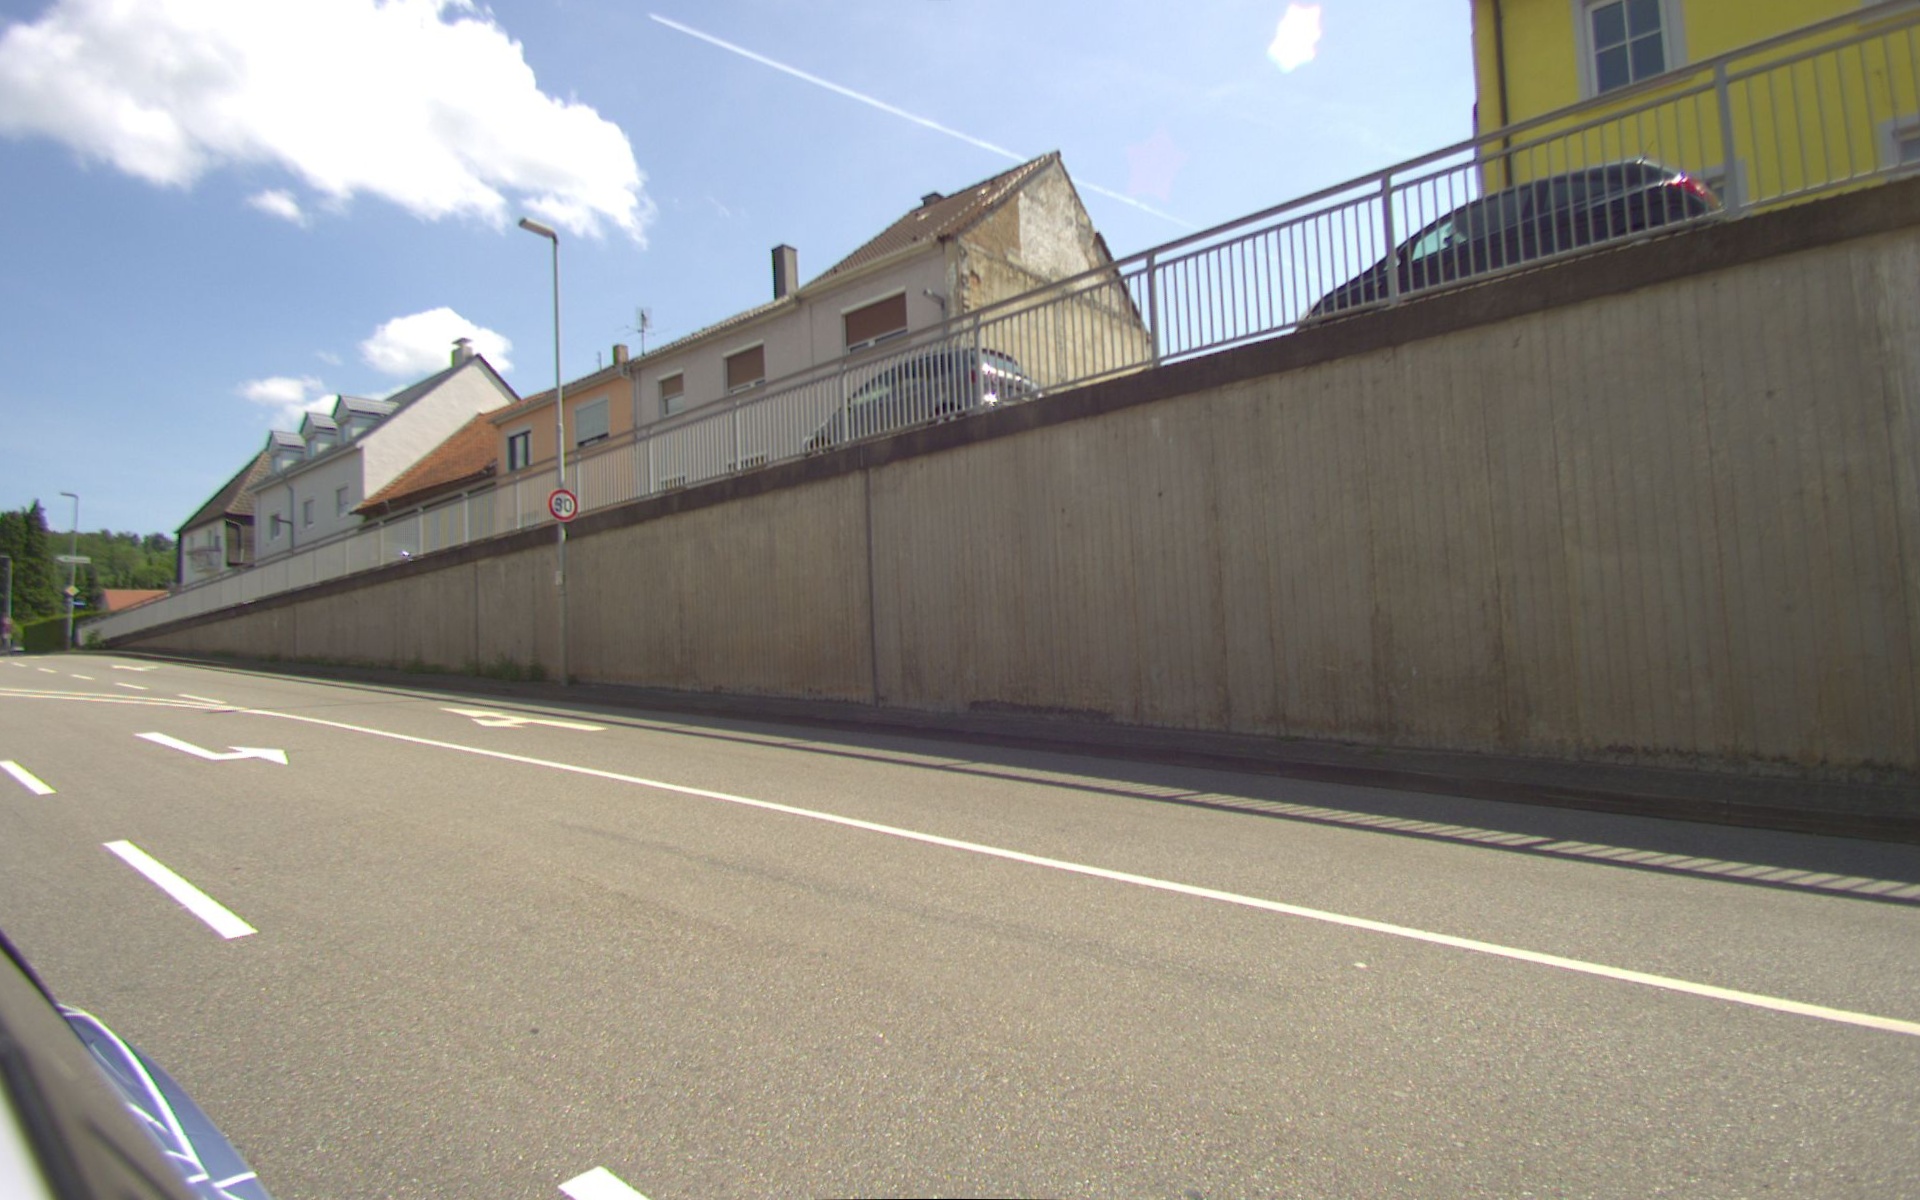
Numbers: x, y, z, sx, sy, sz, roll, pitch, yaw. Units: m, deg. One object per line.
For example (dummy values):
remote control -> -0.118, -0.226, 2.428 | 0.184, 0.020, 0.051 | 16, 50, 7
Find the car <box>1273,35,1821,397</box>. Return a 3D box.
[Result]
car -> 5.462, -3.359, 9.803 | 4.218, 1.718, 1.804 | -5, -3, 39

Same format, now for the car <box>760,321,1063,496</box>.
car -> -0.833, -2.655, 14.995 | 4.388, 1.536, 1.781 | -5, -3, 39

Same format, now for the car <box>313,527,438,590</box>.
car -> -17.338, -1.174, 29.939 | 4.388, 1.416, 1.768 | -5, -3, 39
